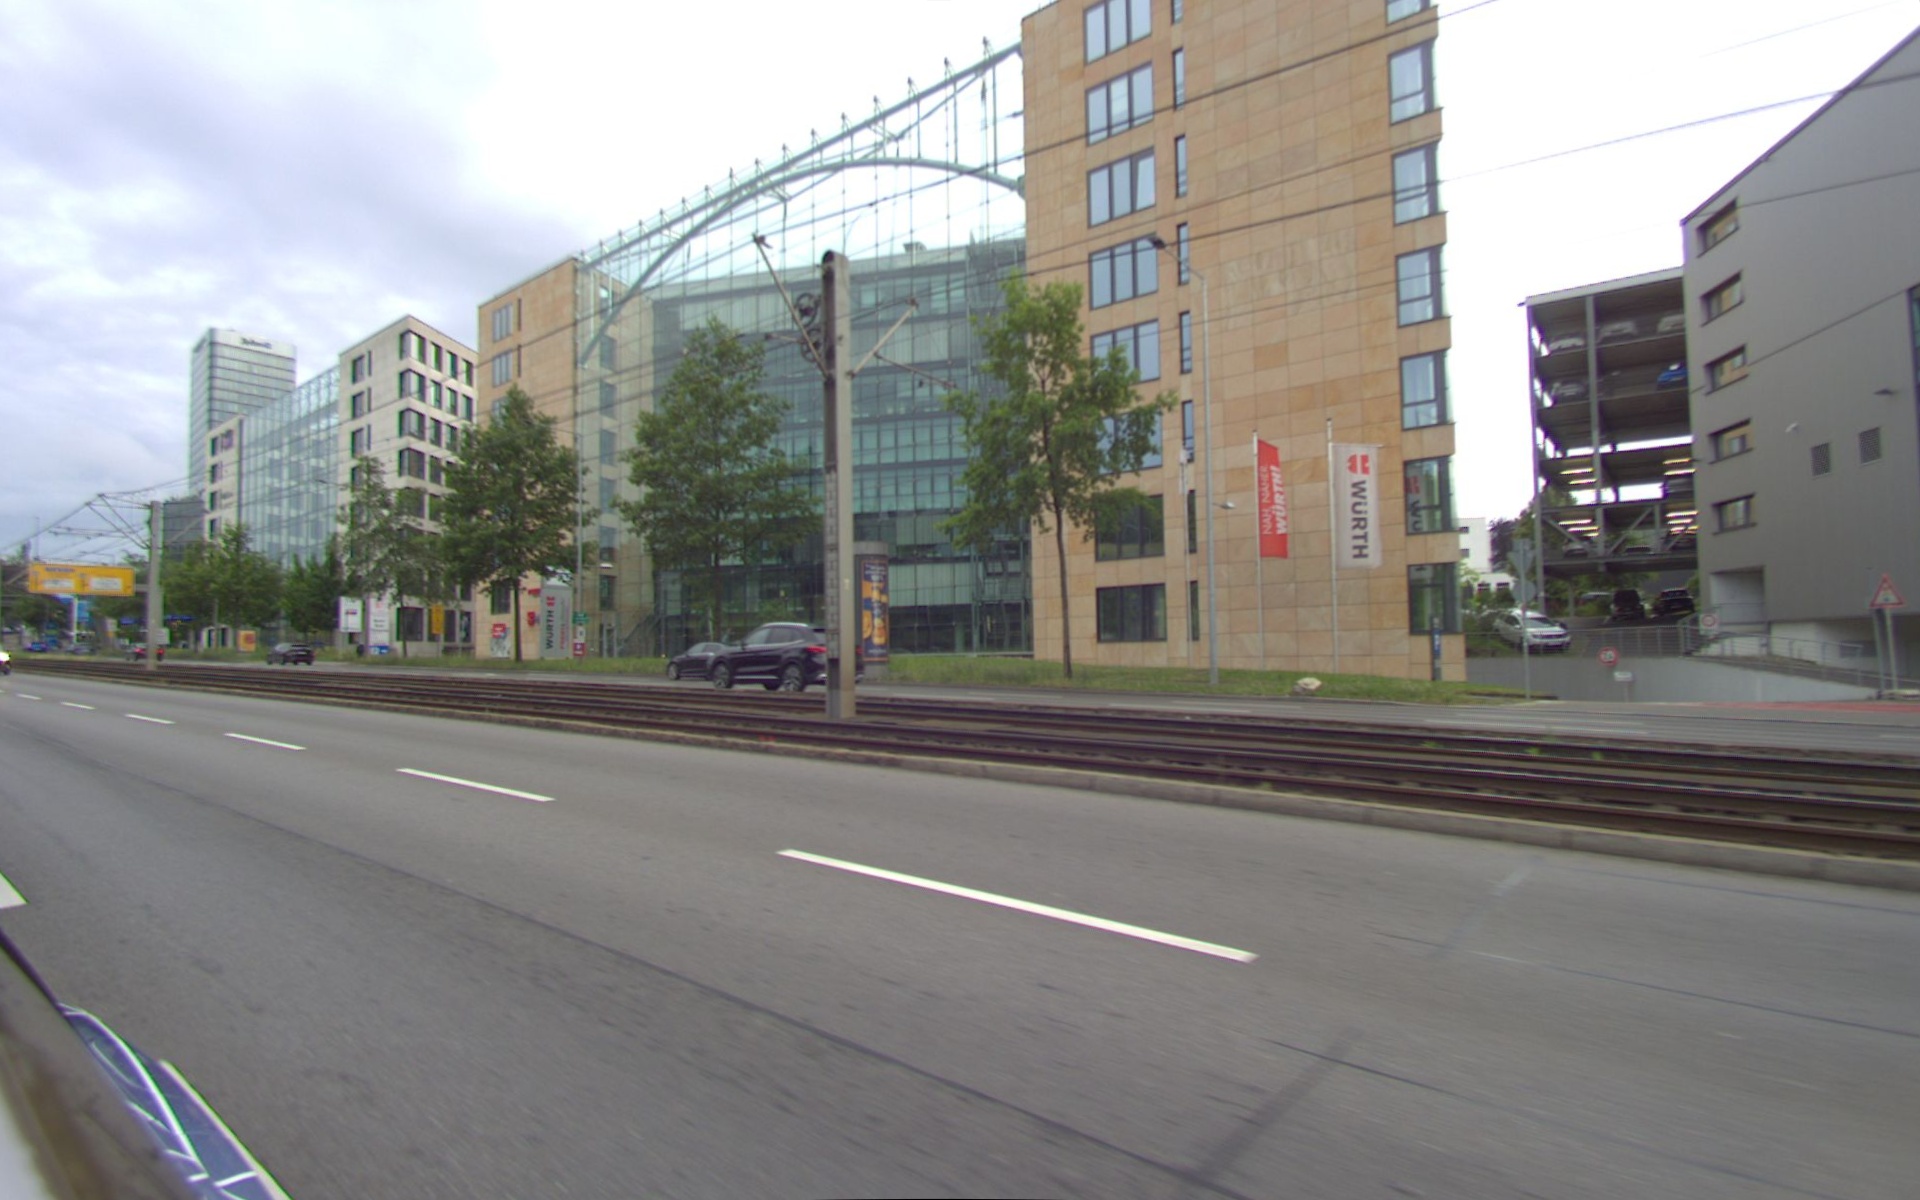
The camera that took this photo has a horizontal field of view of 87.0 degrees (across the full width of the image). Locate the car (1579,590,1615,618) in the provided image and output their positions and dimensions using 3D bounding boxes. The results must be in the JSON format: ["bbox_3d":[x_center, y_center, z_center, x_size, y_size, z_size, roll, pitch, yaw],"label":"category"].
[{"bbox_3d":[41.885,0.269,66.504,1.909,1.699,3.846,2,0,33],"label":"car"}]

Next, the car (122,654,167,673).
[{"bbox_3d":[-65.417,5.090,81.147,4.649,1.497,1.822,-3,-6,40],"label":"car"}]

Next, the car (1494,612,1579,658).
[{"bbox_3d":[26.406,1.573,46.523,1.860,1.908,3.992,2,0,6],"label":"car"}]

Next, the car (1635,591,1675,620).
[{"bbox_3d":[43.974,0.346,64.093,1.909,1.699,3.955,2,0,33],"label":"car"}]

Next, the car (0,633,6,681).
[{"bbox_3d":[-40.661,2.300,41.508,4.374,1.883,1.771,0,0,41],"label":"car"}]

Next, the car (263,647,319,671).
[{"bbox_3d":[-44.401,3.893,67.118,4.426,1.497,1.822,-3,-6,40],"label":"car"}]

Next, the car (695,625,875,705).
[{"bbox_3d":[-4.199,1.460,23.962,4.381,1.628,1.787,0,0,39],"label":"car"}]

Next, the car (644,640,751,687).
[{"bbox_3d":[-9.585,2.255,36.833,4.235,1.473,1.651,0,0,40],"label":"car"}]

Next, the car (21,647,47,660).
[{"bbox_3d":[-113.220,6.531,123.734,4.021,1.465,1.822,0,0,40],"label":"car"}]

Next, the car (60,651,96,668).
[{"bbox_3d":[-84.929,5.731,97.464,4.649,1.497,1.822,-3,-6,40],"label":"car"}]

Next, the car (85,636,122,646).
[{"bbox_3d":[-139.459,6.641,164.825,1.884,1.515,4.307,0,0,41],"label":"car"}]

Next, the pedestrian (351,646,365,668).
[{"bbox_3d":[-46.201,4.343,77.647,0.830,1.644,0.636,0,-1,37],"label":"pedestrian"}]
